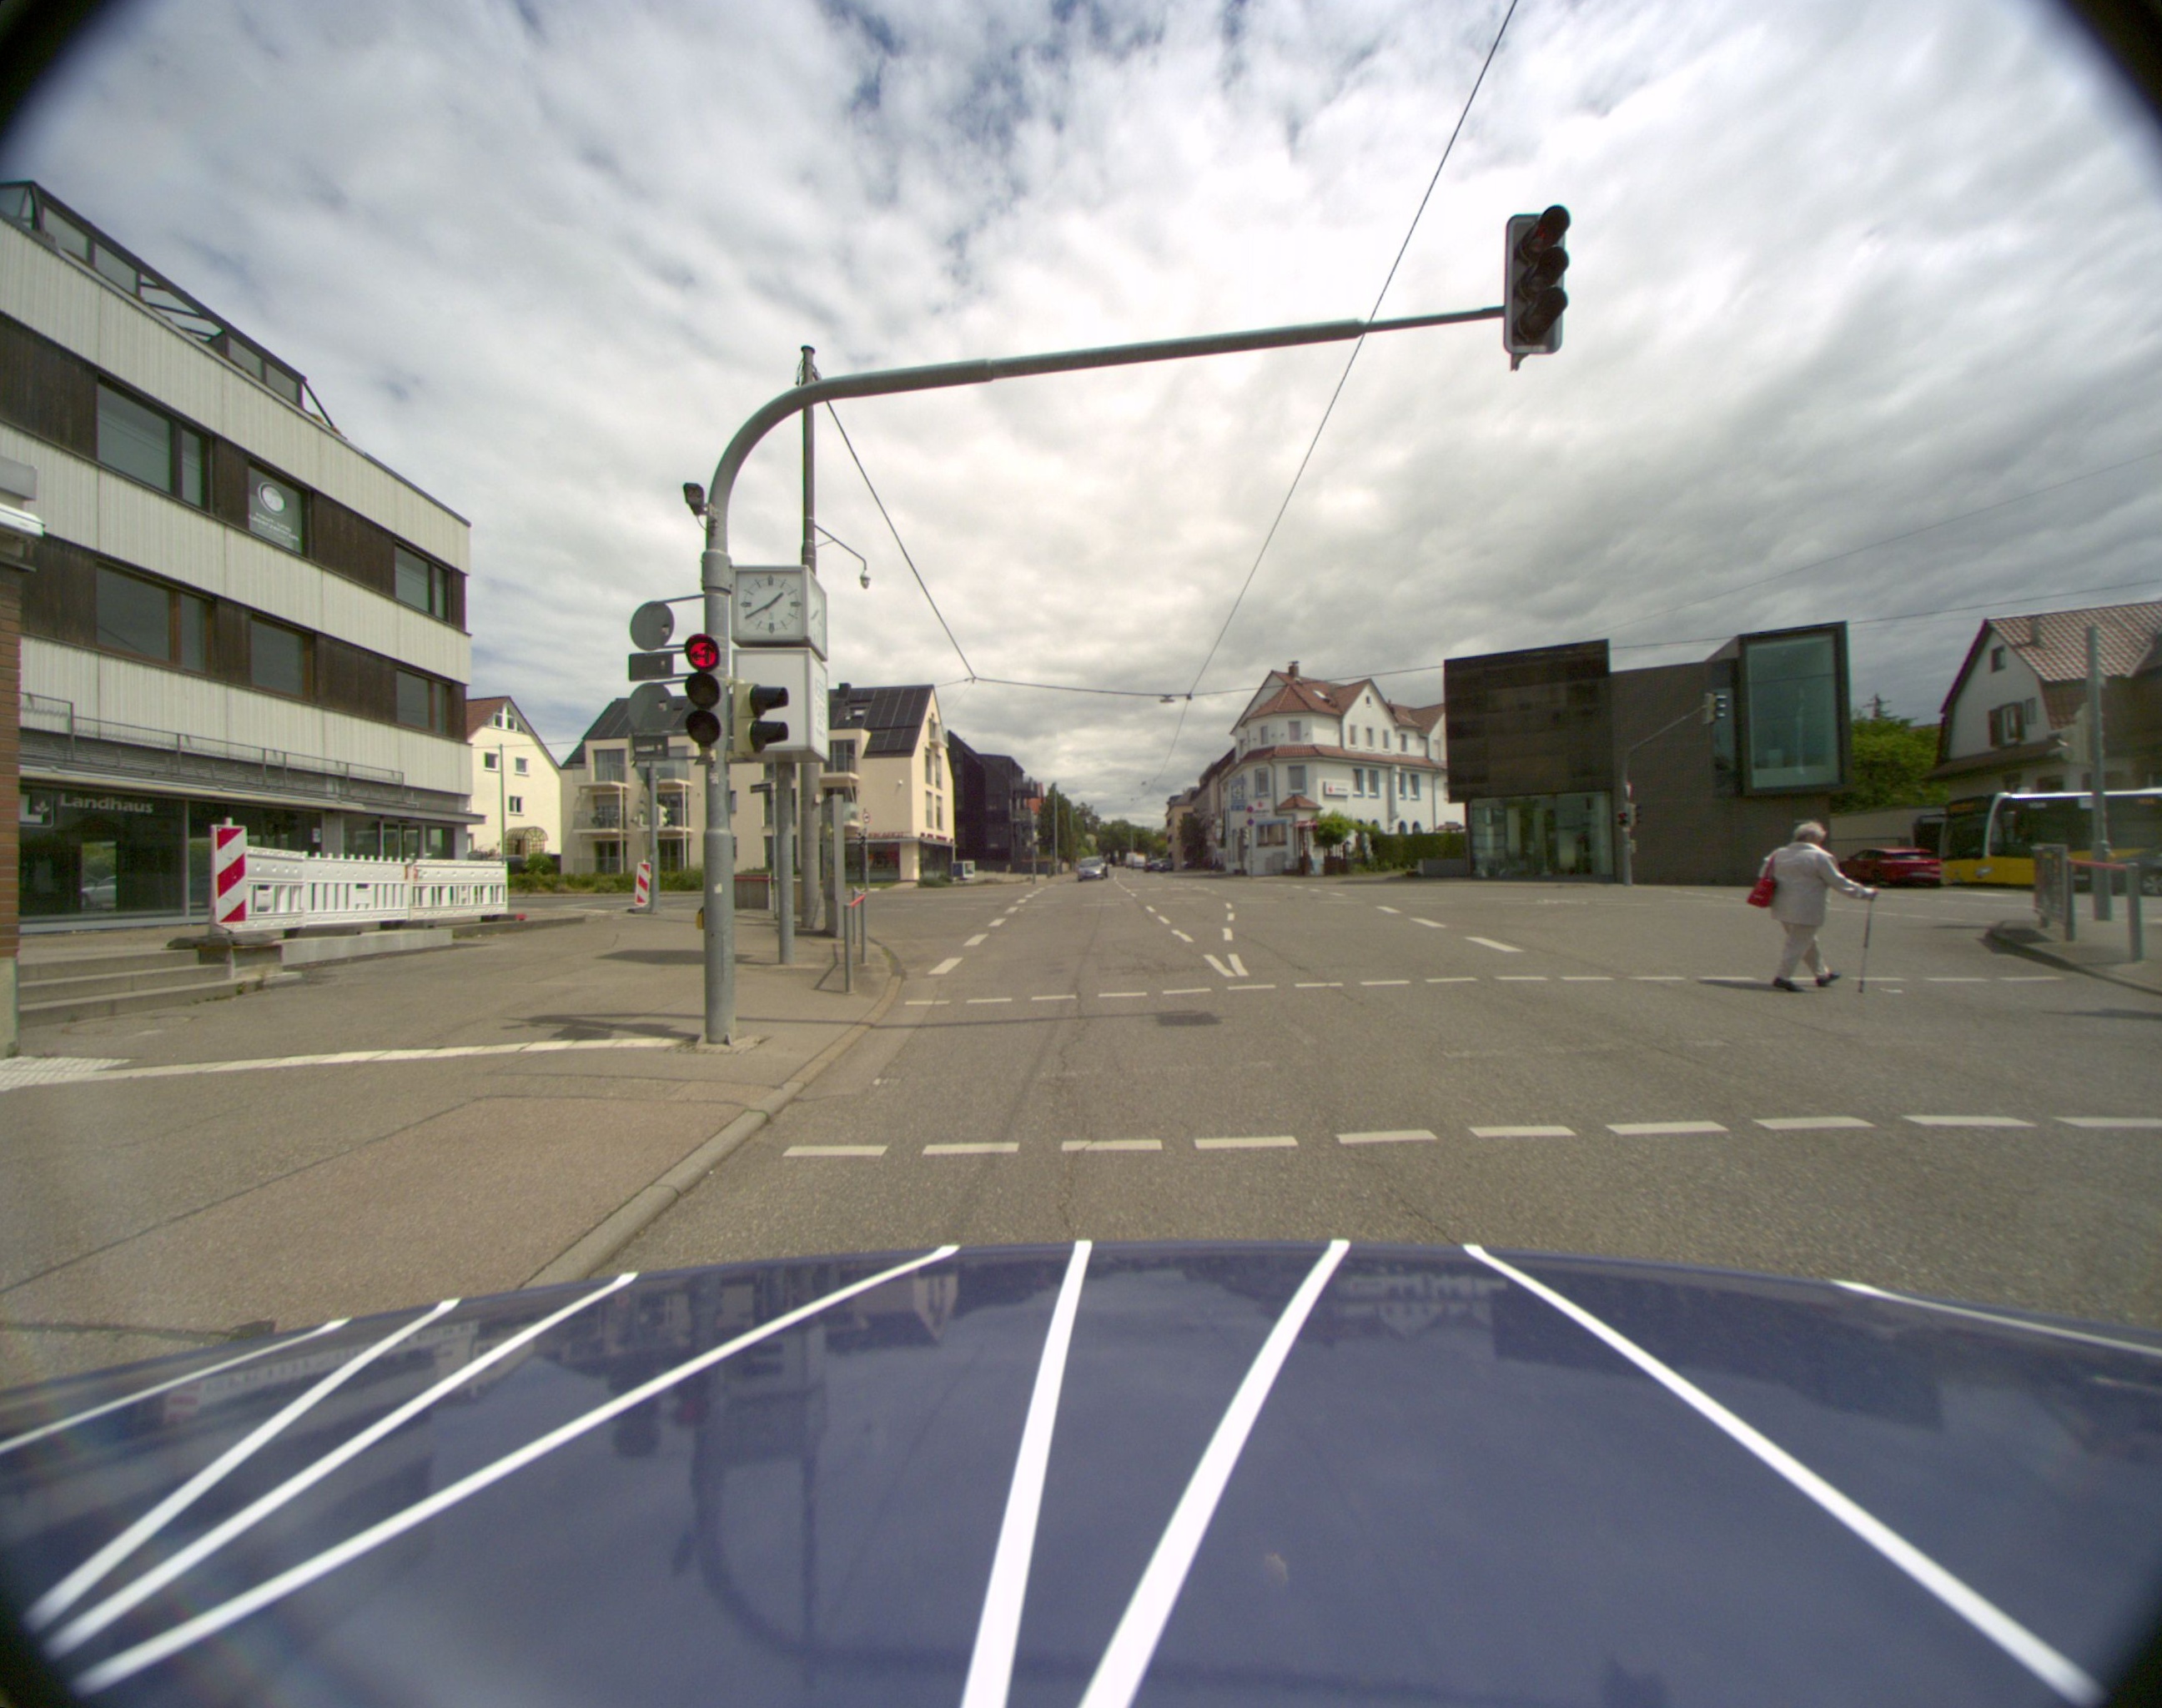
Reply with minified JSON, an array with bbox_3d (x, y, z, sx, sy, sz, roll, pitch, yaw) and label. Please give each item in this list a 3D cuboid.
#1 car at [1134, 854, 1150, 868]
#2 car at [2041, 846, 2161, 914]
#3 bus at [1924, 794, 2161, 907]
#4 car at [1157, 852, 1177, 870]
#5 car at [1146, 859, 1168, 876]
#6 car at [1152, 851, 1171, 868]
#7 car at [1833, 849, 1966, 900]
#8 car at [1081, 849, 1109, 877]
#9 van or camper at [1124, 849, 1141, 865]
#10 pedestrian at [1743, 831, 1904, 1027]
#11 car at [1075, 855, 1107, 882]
[{"bbox_3d":[8.172,0.972,101.747,1.820,1.801,4.419,0,-1,1],"label":"car"},{"bbox_3d":[27.641,0.622,19.023,3.990,1.630,2.003,-1,0,27],"label":"car"},{"bbox_3d":[30.612,-0.118,21.165,9.168,3.042,2.791,-1,0,25],"label":"bus"},{"bbox_3d":[10.437,0.840,92.314,1.998,2.002,4.000,-1,0,1],"label":"car"},{"bbox_3d":[7.415,1.272,74.416,1.998,1.521,4.001,2,0,4],"label":"car"},{"bbox_3d":[10.348,0.690,97.509,1.998,2.002,4.000,-1,0,1],"label":"car"},{"bbox_3d":[31.230,0.726,29.187,1.995,1.631,4.004,-1,3,23],"label":"car"},{"bbox_3d":[1.095,0.674,56.981,1.998,2.002,4.001,-1,0,2],"label":"car"},{"bbox_3d":[8.678,0.488,128.688,2.113,2.571,5.644,2,-1,-2],"label":"van or camper"},{"bbox_3d":[6.728,0.618,6.898,0.838,1.628,0.871,-1,1,-33],"label":"pedestrian"},{"bbox_3d":[0.700,0.934,51.258,1.998,1.674,4.001,-1,0,3],"label":"car"}]
